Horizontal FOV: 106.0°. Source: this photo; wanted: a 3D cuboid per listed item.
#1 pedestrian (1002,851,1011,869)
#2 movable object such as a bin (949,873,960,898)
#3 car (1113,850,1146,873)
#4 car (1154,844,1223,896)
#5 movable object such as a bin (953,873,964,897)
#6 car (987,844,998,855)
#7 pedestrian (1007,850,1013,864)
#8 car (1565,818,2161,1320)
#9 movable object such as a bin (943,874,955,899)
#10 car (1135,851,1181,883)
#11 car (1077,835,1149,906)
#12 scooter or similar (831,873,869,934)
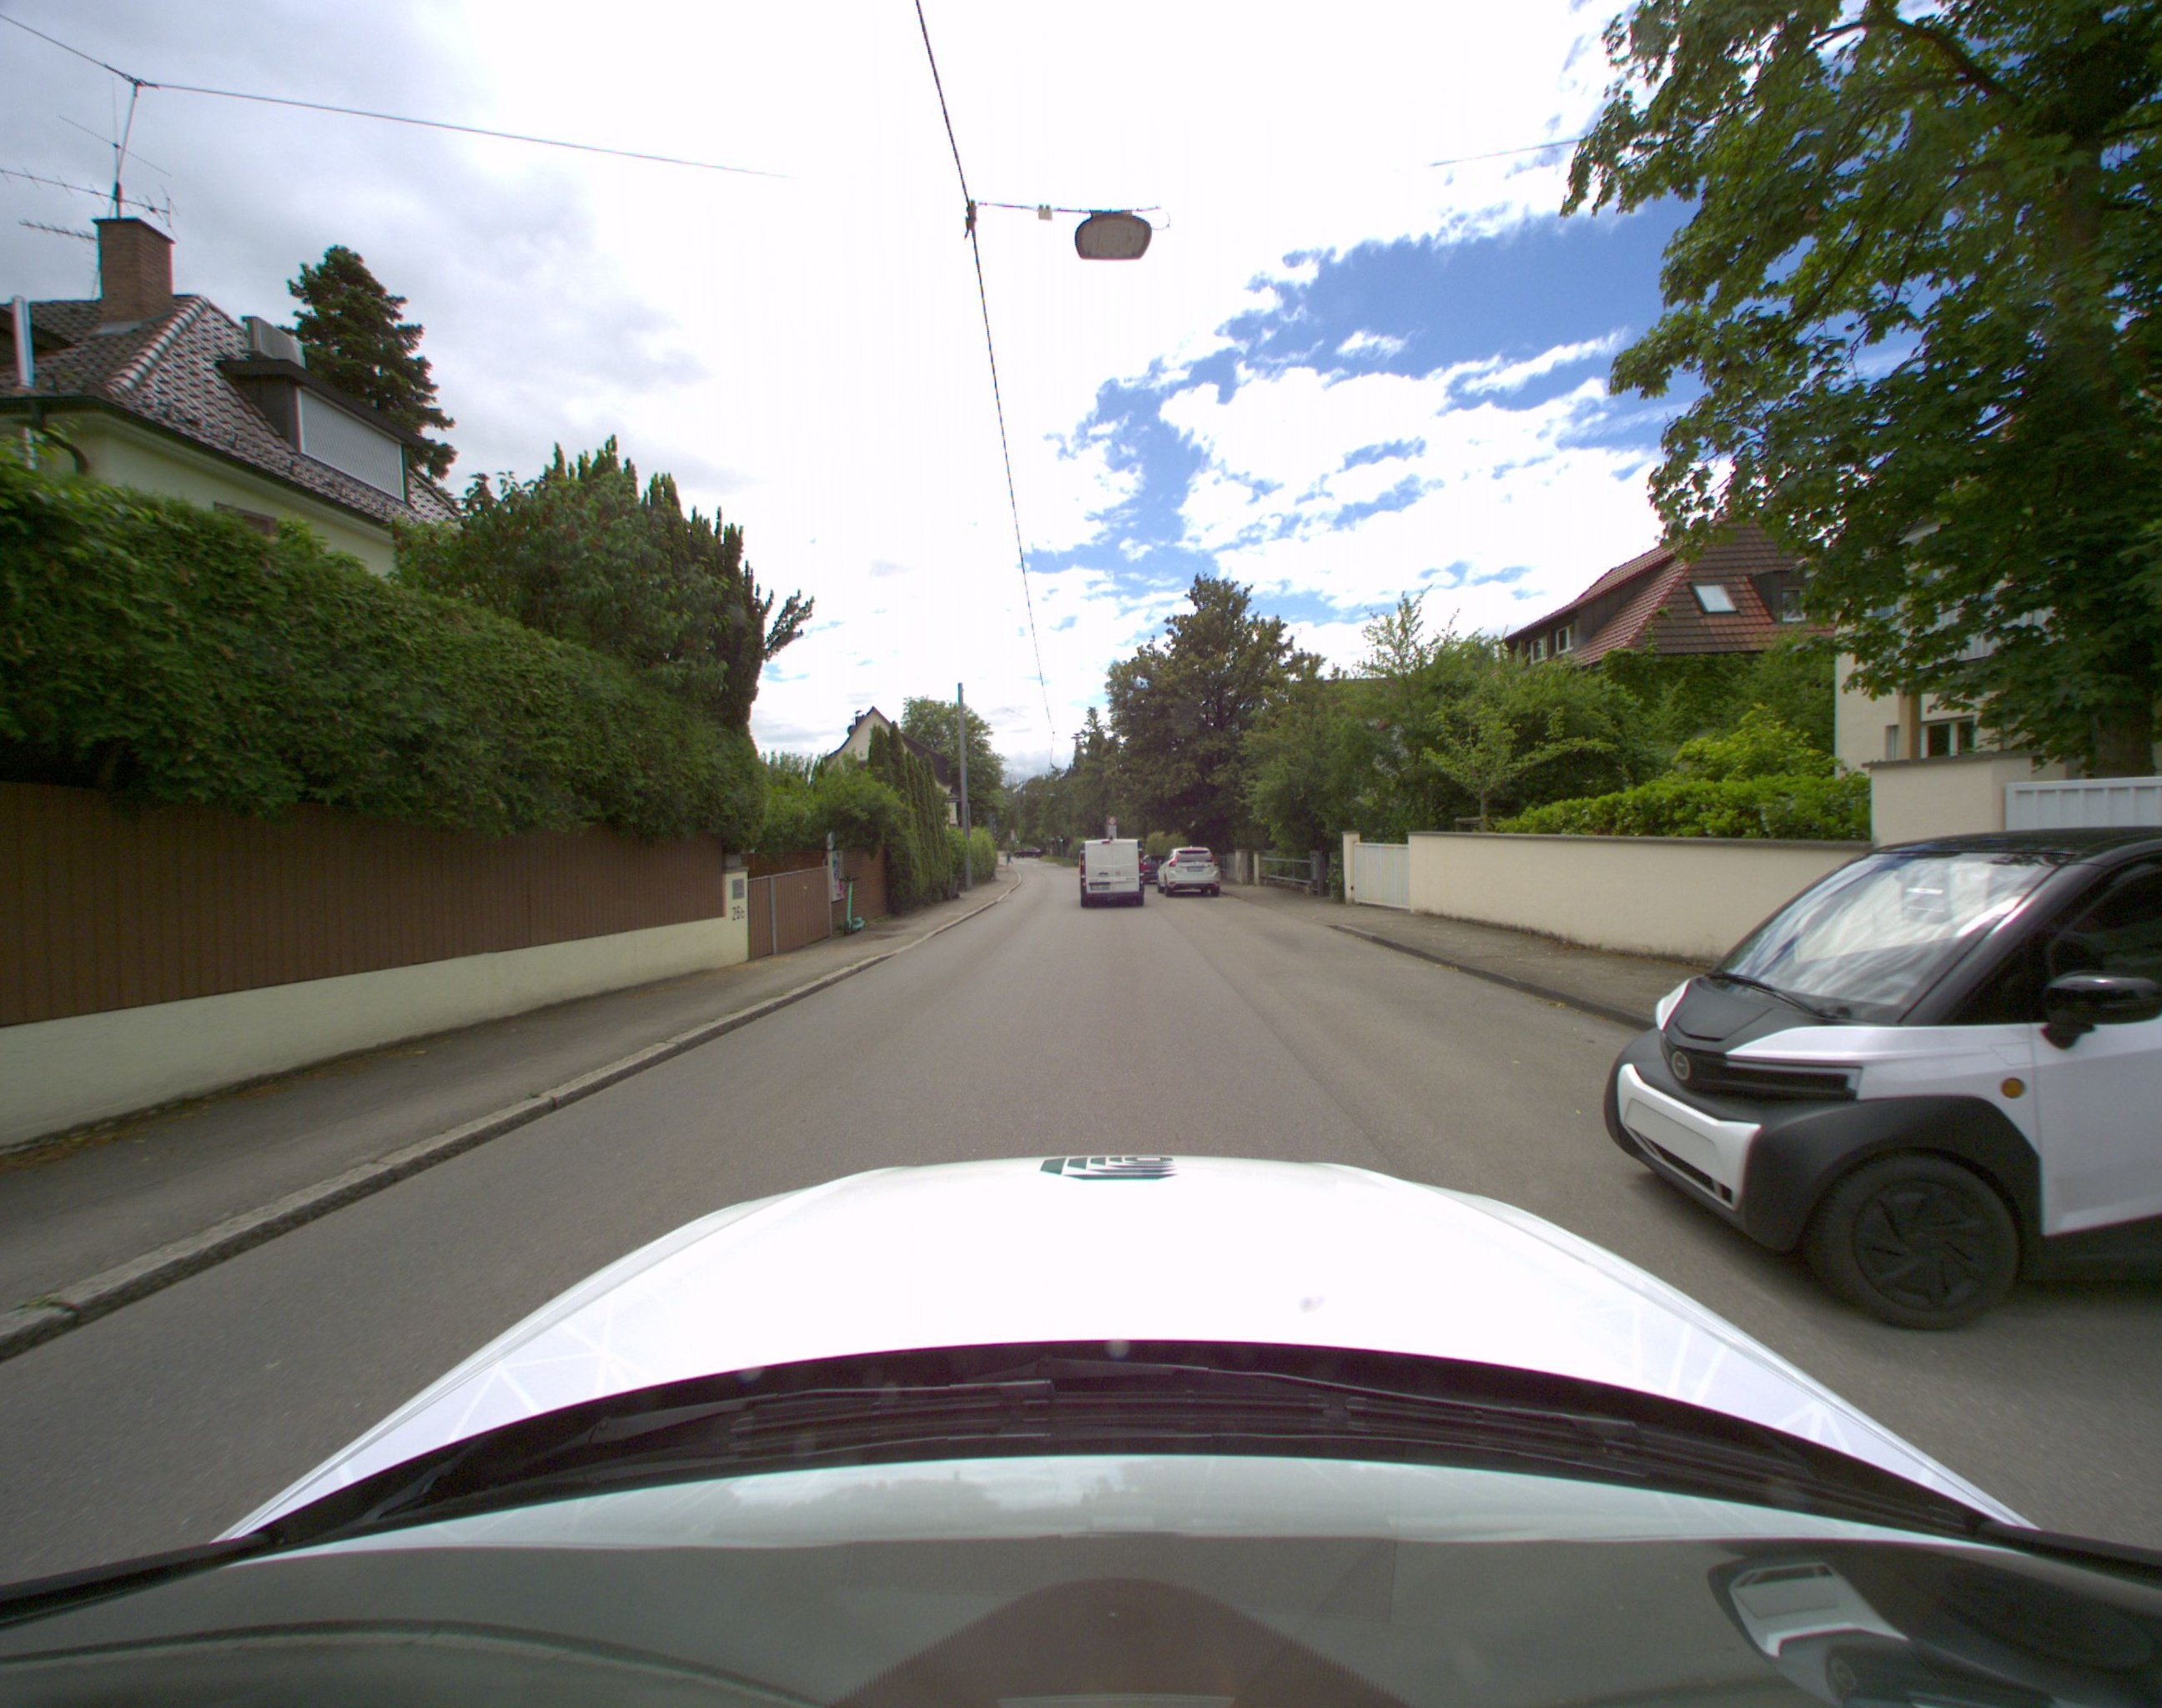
[{"bbox_3d":[-6.759,0.556,73.779,0.704,1.610,0.576,-2,0,0],"label":"pedestrian"},{"bbox_3d":[-4.694,1.162,30.196,0.335,0.893,0.476,0,0,2],"label":"movable object such as a bin"},{"bbox_3d":[3.025,0.460,51.406,1.706,1.412,3.785,0,0,-3],"label":"car"},{"bbox_3d":[3.748,0.531,29.160,1.859,1.685,4.349,-1,0,0],"label":"car"},{"bbox_3d":[-4.645,1.172,30.865,0.335,0.893,0.476,0,0,2],"label":"movable object such as a bin"},{"bbox_3d":[-15.319,-0.821,141.064,1.821,1.727,3.995,-1,1,-4],"label":"car"},{"bbox_3d":[-8.234,0.313,94.148,0.696,1.616,0.714,-1,2,-5],"label":"pedestrian"},{"bbox_3d":[3.402,0.656,3.146,2.275,1.524,1.320,-2,1,7],"label":"car"},{"bbox_3d":[-4.756,1.164,29.391,0.335,0.893,0.476,0,0,2],"label":"movable object such as a bin"},{"bbox_3d":[3.729,0.605,40.076,1.706,1.487,3.786,-1,0,-3],"label":"car"},{"bbox_3d":[0.879,0.435,25.114,1.924,1.964,4.399,-1,1,-1],"label":"car"},{"bbox_3d":[-4.803,1.013,17.014,0.390,1.171,1.270,-1,0,1],"label":"scooter or similar"}]
